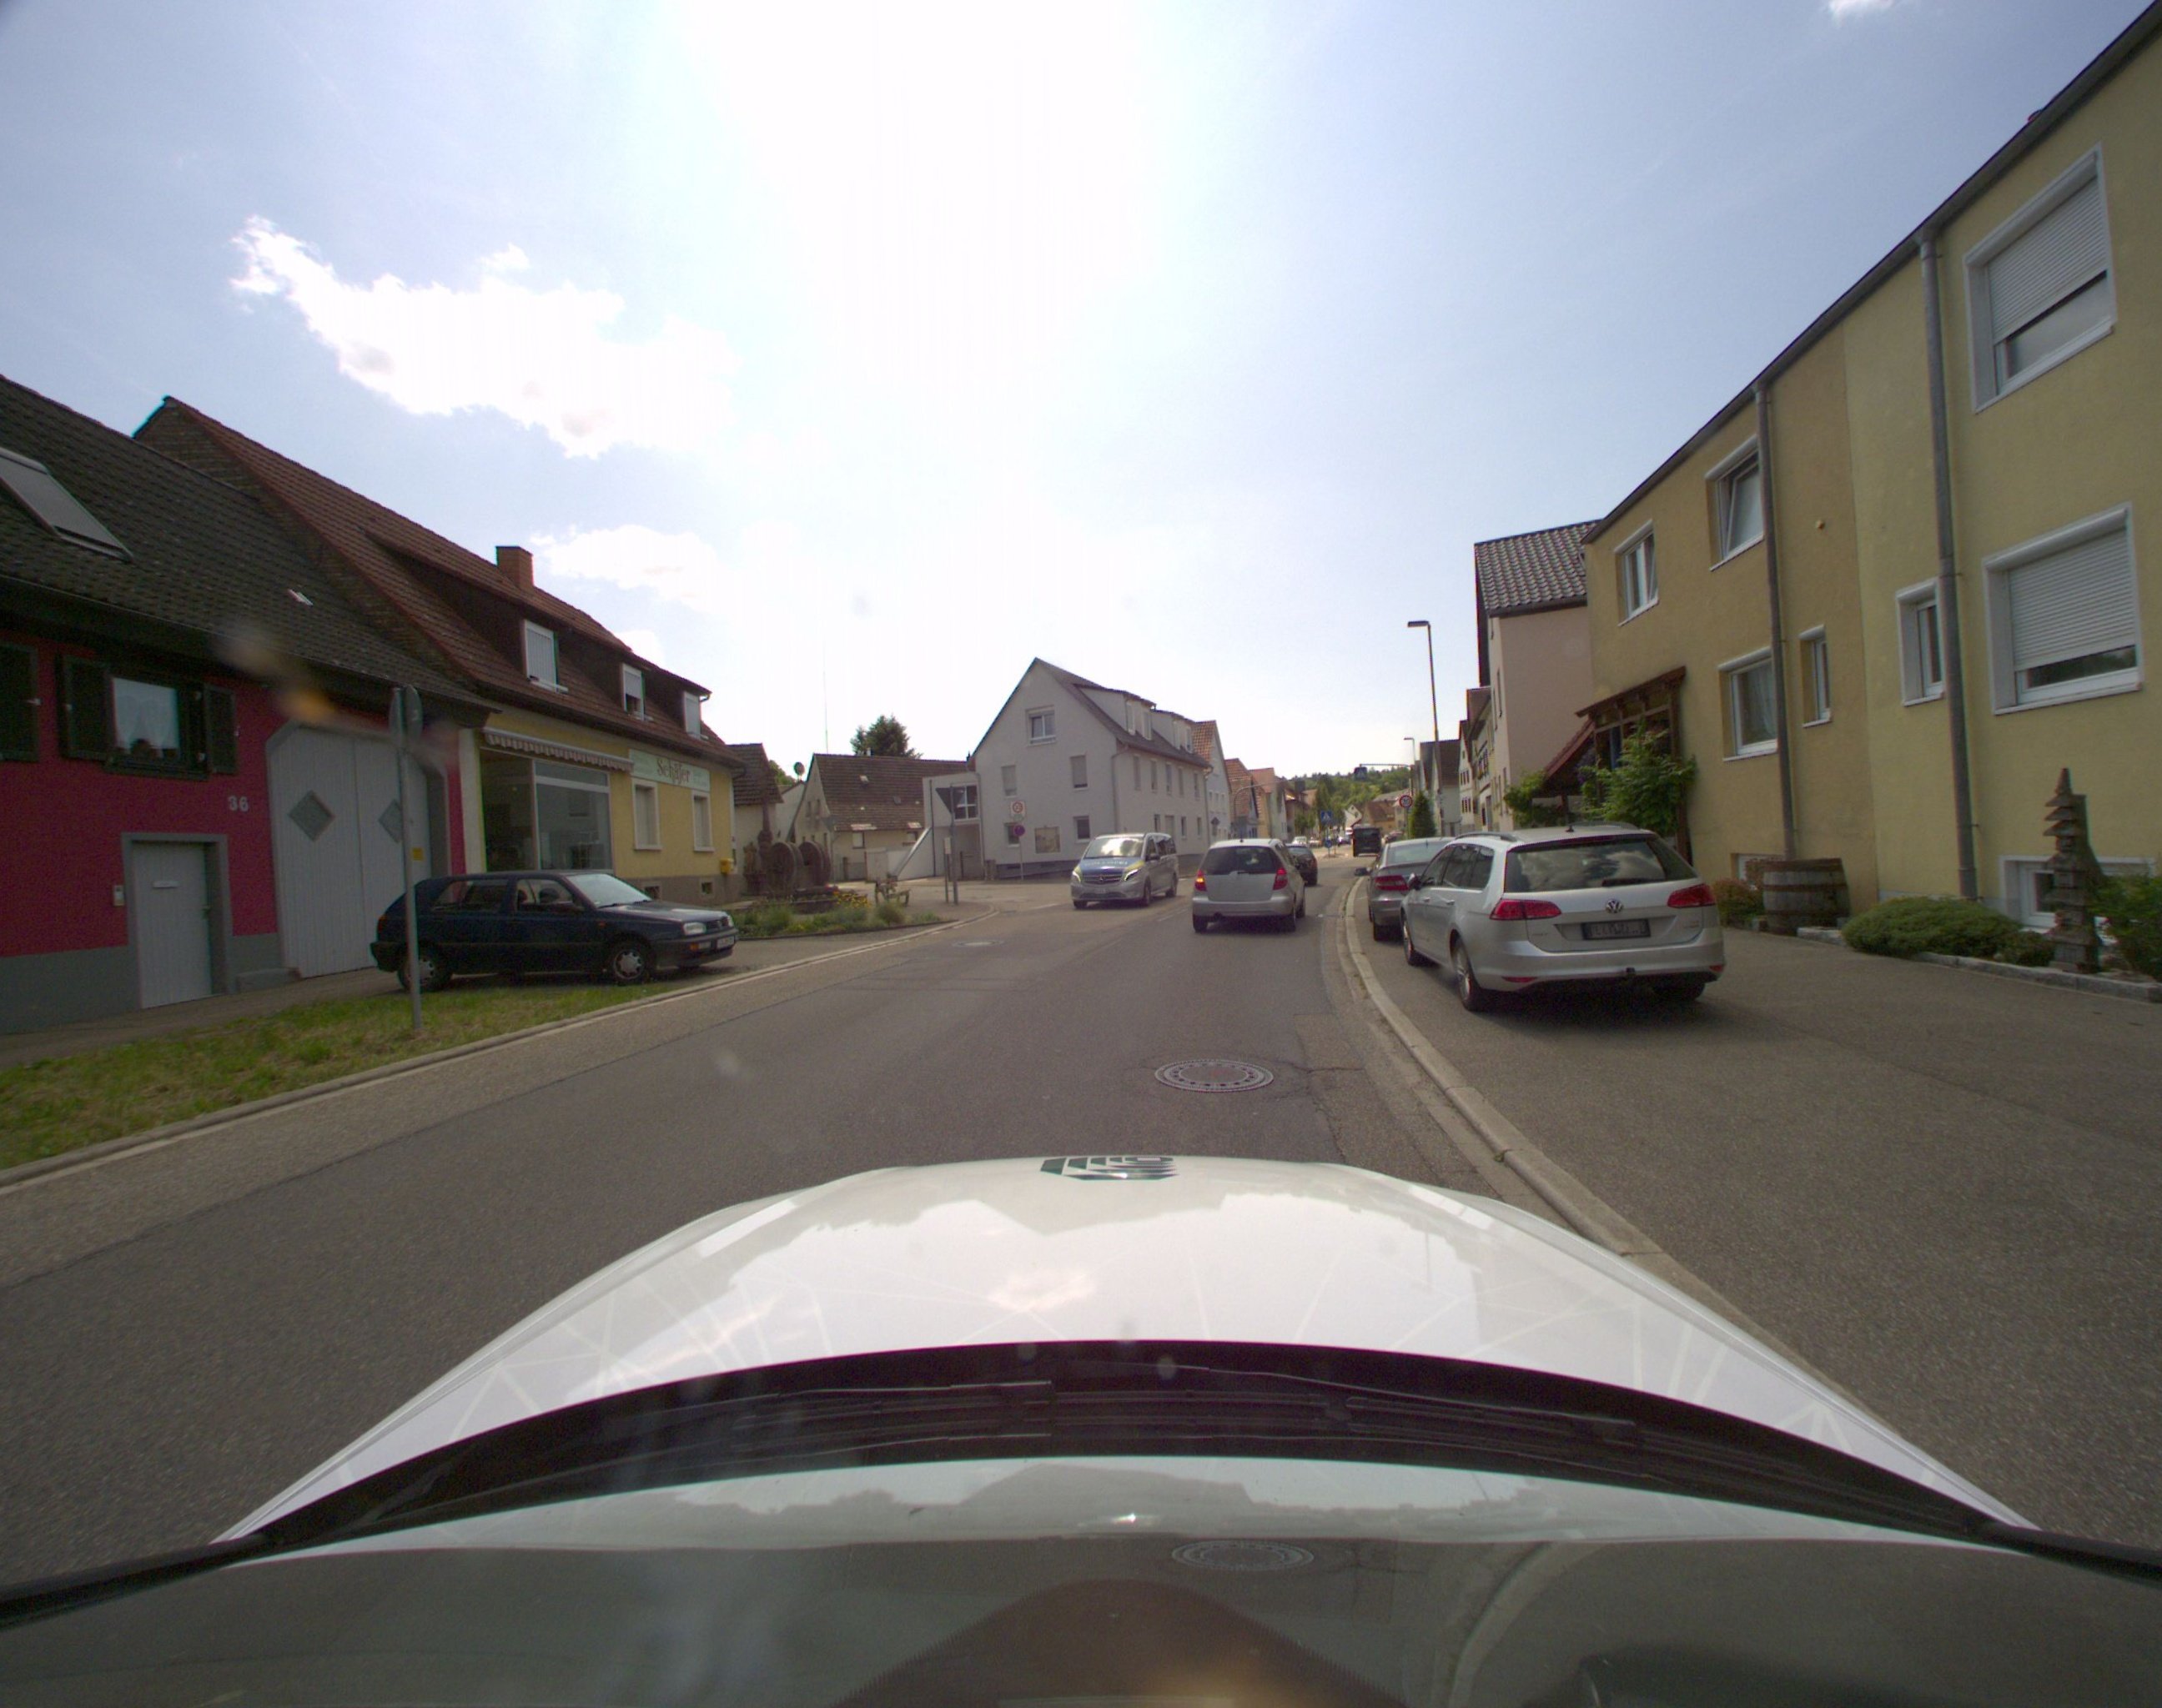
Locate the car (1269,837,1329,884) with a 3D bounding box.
[{"bbox_3d":[7.371,0.226,27.836,1.738,1.416,4.013,-2,-1,12],"label":"car"}]

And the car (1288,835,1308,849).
[{"bbox_3d":[23.778,-1.313,89.195,1.979,1.321,3.724,-2,-1,15],"label":"car"}]

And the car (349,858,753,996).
[{"bbox_3d":[-6.581,0.855,10.476,3.958,1.464,1.719,-2,0,-3],"label":"car"}]

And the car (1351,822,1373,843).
[{"bbox_3d":[29.783,-2.293,86.301,1.977,2.014,4.020,-3,-1,20],"label":"car"}]

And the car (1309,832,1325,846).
[{"bbox_3d":[30.783,-1.908,106.166,1.653,1.596,4.020,-3,-1,20],"label":"car"}]

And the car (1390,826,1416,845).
[{"bbox_3d":[27.757,-1.571,70.360,1.977,1.508,4.020,-3,-1,20],"label":"car"}]

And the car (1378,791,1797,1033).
[{"bbox_3d":[4.252,0.407,7.794,1.873,1.530,4.349,-6,-1,11],"label":"car"}]

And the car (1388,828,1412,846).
[{"bbox_3d":[29.655,-1.534,75.724,1.977,1.508,4.020,-3,-1,20],"label":"car"}]

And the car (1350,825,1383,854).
[{"bbox_3d":[19.642,-0.960,56.049,1.977,1.816,4.019,-3,-1,19],"label":"car"}]

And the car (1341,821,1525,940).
[{"bbox_3d":[5.273,0.375,12.816,1.758,1.400,4.440,-6,-2,13],"label":"car"}]

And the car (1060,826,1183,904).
[{"bbox_3d":[1.236,0.288,21.832,1.977,1.800,4.958,-3,-1,18],"label":"car"}]

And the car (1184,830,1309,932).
[{"bbox_3d":[3.208,0.423,15.210,1.796,1.643,3.747,-1,0,18],"label":"car"}]
